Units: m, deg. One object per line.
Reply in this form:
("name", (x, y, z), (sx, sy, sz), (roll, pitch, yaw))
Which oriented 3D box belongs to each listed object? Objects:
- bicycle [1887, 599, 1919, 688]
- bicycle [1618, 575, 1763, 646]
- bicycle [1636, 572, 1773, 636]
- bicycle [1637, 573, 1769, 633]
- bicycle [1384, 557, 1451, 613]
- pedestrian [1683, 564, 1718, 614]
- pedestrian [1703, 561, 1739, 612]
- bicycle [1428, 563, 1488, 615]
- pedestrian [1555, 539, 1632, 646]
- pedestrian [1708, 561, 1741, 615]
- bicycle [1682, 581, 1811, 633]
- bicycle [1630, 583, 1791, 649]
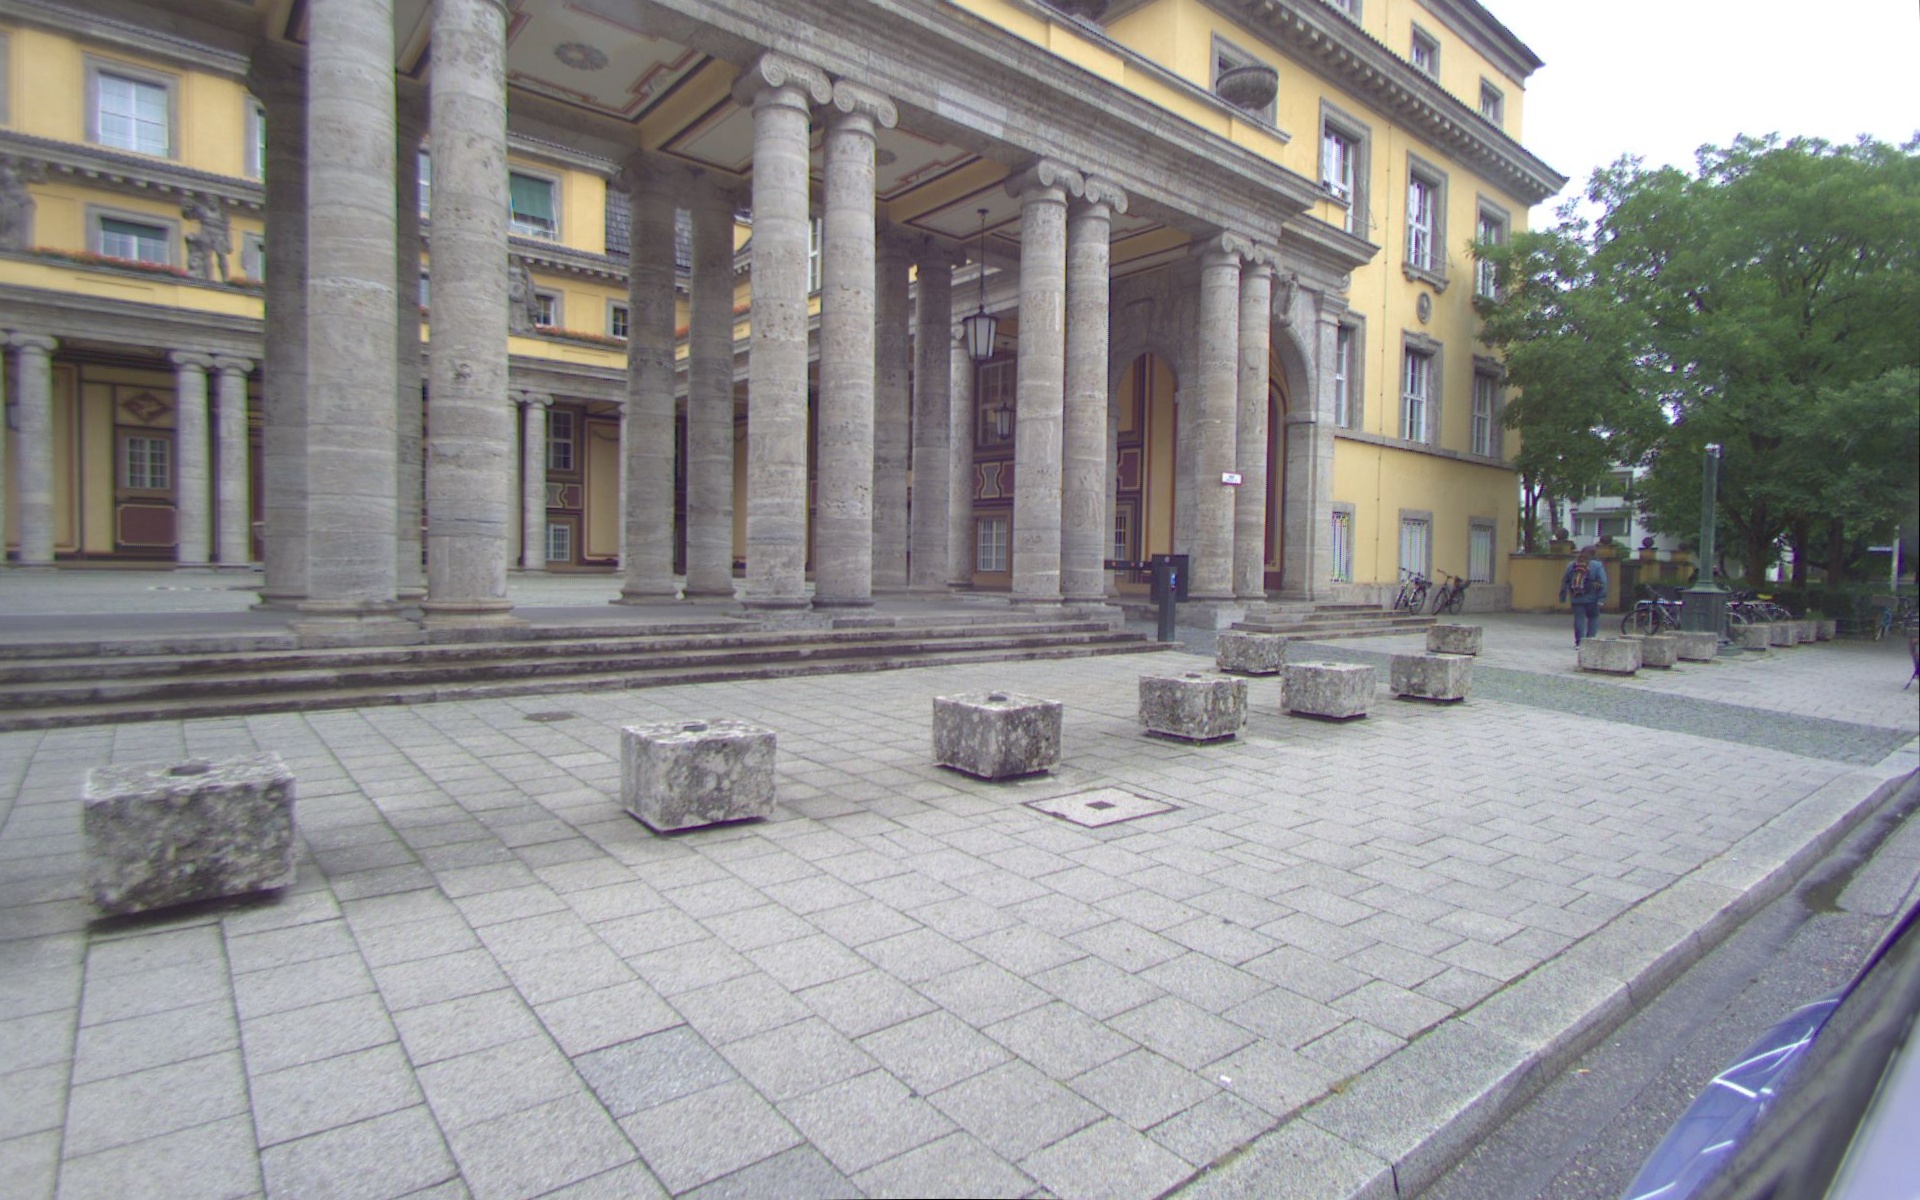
("bicycle", (13.612, 0.594, 14.074), (2.225, 1.113, 0.762), (-1, 5, -41))
("bicycle", (14.810, 0.179, 20.557), (2.256, 1.107, 0.593), (9, 8, 39))
("bicycle", (16.030, 0.056, 21.847), (2.256, 1.071, 0.593), (9, 8, 39))
("bicycle", (16.569, 0.043, 22.602), (2.256, 1.035, 0.593), (9, 8, 39))
("bicycle", (11.483, -0.386, 25.386), (2.224, 1.323, 0.601), (-1, 3, -40))
("pedestrian", (27.041, -0.416, 36.942), (0.826, 1.764, 0.741), (-1, 6, -40))
("pedestrian", (29.197, -0.540, 38.829), (1.017, 1.887, 0.782), (-1, 6, -40))
("bicycle", (13.242, -0.299, 26.893), (2.127, 1.323, 0.601), (-1, 3, -41))
("pedestrian", (10.910, -0.145, 17.430), (1.037, 1.767, 0.790), (-1, 3, -41))
("pedestrian", (27.481, -0.435, 36.376), (0.806, 1.887, 0.659), (-1, 6, -40))
("bicycle", (18.386, 0.148, 23.725), (0.590, 1.023, 2.264), (1, 4, -37))
("bicycle", (14.308, 0.269, 19.353), (2.362, 1.018, 0.668), (6, 5, 42))
